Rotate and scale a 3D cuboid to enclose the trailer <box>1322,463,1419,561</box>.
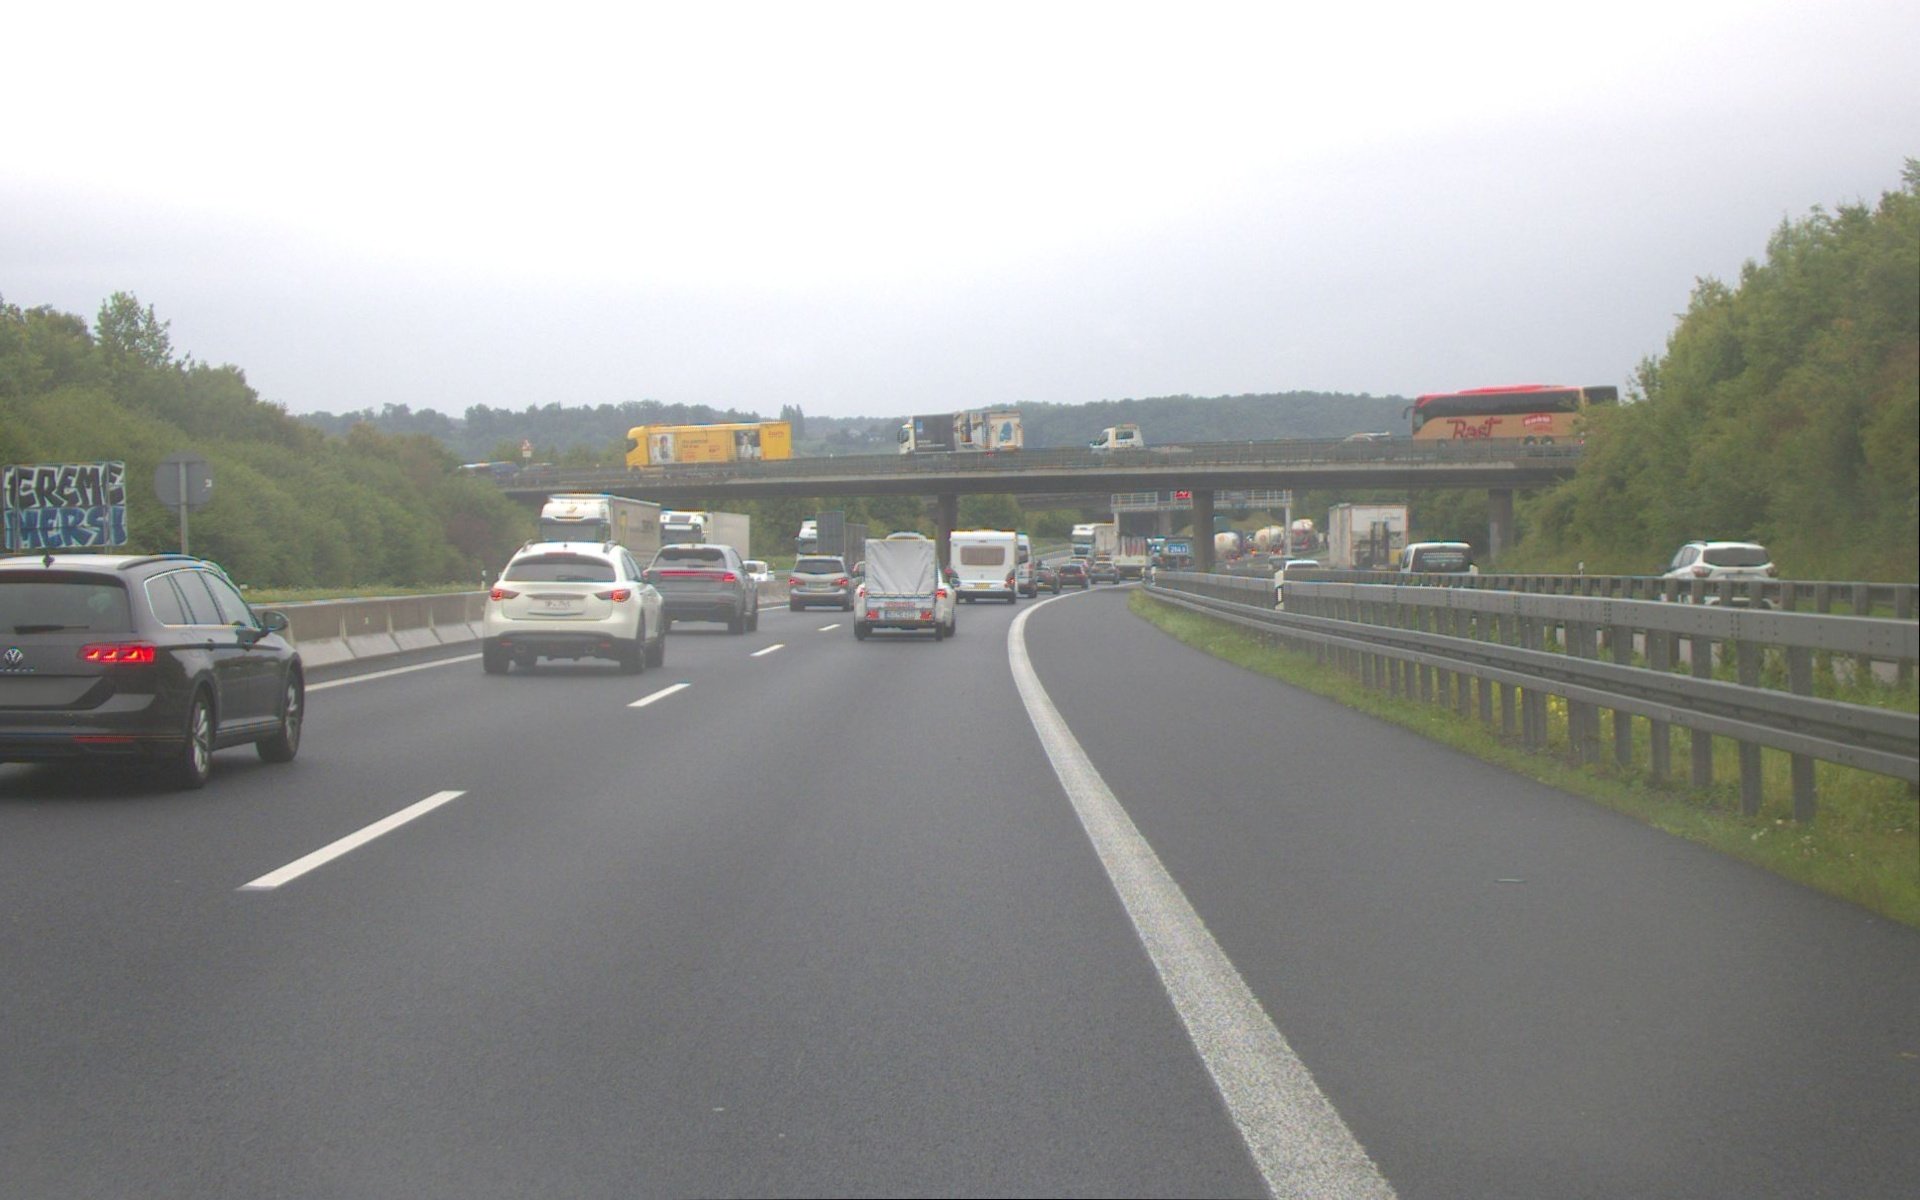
[{"bbox_3d":[18.485,-3.973,155.377,3.437,4.274,10.454,0,1,2],"label":"trailer"}]

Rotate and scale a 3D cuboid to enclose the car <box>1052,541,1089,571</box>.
[{"bbox_3d":[6.581,-2.611,205.053,1.993,1.744,4.000,1,1,0],"label":"car"}]

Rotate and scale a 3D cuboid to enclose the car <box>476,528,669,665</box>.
[{"bbox_3d":[-4.854,-0.081,43.585,1.976,1.633,4.501,0,1,-1],"label":"car"}]

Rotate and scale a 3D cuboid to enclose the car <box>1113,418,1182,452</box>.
[{"bbox_3d":[11.073,-9.778,203.668,1.838,1.908,3.999,0,1,-39],"label":"car"}]

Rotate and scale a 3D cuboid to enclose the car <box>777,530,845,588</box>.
[{"bbox_3d":[-4.316,-1.207,99.623,1.900,1.607,4.018,0,1,-3],"label":"car"}]

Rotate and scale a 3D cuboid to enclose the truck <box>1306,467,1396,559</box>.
[{"bbox_3d":[18.792,-4.185,165.783,3.437,4.274,10.418,0,1,2],"label":"truck"}]

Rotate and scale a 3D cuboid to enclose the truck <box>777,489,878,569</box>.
[{"bbox_3d":[-6.003,-3.274,158.805,3.766,3.542,13.187,0,1,2],"label":"truck"}]

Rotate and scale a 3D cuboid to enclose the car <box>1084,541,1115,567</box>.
[{"bbox_3d":[9.645,-3.203,237.500,1.993,1.744,4.000,1,1,1],"label":"car"}]

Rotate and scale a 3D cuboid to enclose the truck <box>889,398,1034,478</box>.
[{"bbox_3d":[0.013,-10.220,218.362,3.767,4.819,10.041,-1,1,-39],"label":"truck"}]

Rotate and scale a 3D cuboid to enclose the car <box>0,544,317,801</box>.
[{"bbox_3d":[-5.551,0.397,22.447,1.900,1.492,4.852,0,1,-1],"label":"car"}]

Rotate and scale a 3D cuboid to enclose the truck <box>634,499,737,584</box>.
[{"bbox_3d":[-13.424,-2.890,169.116,3.766,3.978,13.187,0,1,1],"label":"truck"}]

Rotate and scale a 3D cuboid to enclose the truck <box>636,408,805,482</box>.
[{"bbox_3d":[-16.882,-10.774,240.464,3.767,4.819,15.241,-1,1,-39],"label":"truck"}]

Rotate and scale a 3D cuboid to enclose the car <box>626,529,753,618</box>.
[{"bbox_3d":[-5.147,-0.534,65.965,2.174,1.626,4.501,0,1,-1],"label":"car"}]

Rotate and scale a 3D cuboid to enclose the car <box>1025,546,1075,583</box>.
[{"bbox_3d":[4.347,-1.733,166.571,1.993,1.744,4.001,1,1,-4],"label":"car"}]

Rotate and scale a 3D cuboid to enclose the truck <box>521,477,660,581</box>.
[{"bbox_3d":[-14.744,-2.843,138.459,3.766,3.978,13.187,0,1,2],"label":"truck"}]

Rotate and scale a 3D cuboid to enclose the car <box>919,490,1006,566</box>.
[{"bbox_3d":[0.128,-2.576,122.696,3.017,2.607,6.075,0,1,1],"label":"car"}]

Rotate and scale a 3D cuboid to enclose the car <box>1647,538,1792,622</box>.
[{"bbox_3d":[14.942,-0.421,67.827,1.896,1.607,4.146,0,1,-1],"label":"car"}]

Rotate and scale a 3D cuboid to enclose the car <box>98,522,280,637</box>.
[{"bbox_3d":[-12.678,-0.361,56.748,1.993,1.807,4.173,1,1,1],"label":"car"}]

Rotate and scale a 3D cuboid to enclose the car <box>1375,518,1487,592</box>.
[{"bbox_3d":[11.860,-1.148,86.799,2.007,1.808,4.277,0,1,-3],"label":"car"}]

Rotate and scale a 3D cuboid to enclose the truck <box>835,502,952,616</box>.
[{"bbox_3d":[-1.183,-0.791,63.267,2.019,1.978,7.213,0,1,0],"label":"truck"}]
